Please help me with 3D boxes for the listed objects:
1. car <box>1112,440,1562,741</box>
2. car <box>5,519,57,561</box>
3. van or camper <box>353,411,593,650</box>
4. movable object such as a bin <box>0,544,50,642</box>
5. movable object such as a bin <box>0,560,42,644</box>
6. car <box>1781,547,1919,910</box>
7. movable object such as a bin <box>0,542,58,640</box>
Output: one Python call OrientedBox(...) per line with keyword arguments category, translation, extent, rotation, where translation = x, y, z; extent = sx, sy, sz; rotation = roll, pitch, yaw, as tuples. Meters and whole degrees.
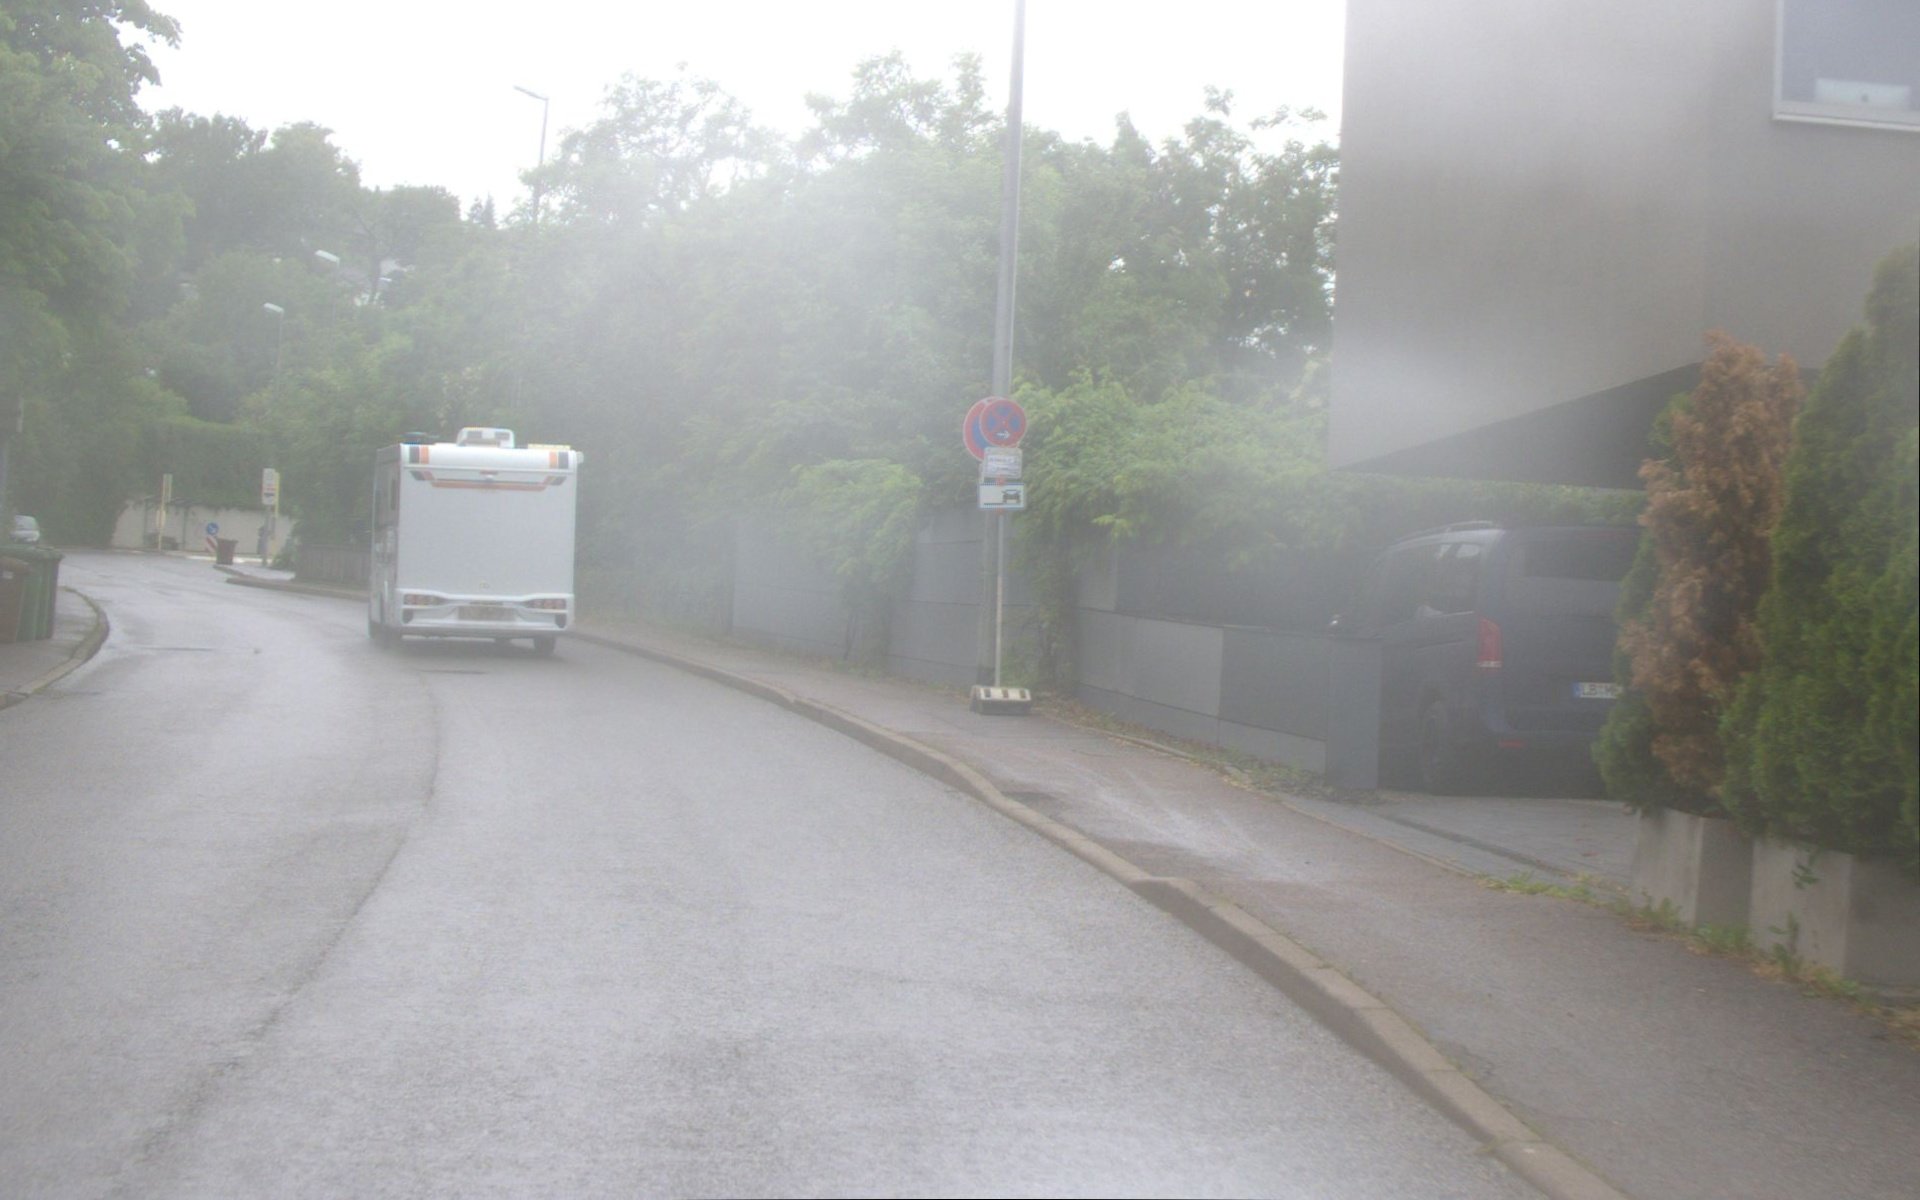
OrientedBox(category="car", translation=(2.602, 0.023, 25.024), extent=(1.993, 1.934, 4.774), rotation=(1, -2, -10))
OrientedBox(category="car", translation=(-33.177, -2.145, 122.867), extent=(1.650, 1.380, 3.530), rotation=(3, 0, -14))
OrientedBox(category="van or camper", translation=(-6.544, -0.860, 45.557), extent=(2.539, 2.915, 5.949), rotation=(1, 0, -14))
OrientedBox(category="movable object such as a bin", translation=(-10.681, -0.080, 38.910), extent=(0.648, 1.077, 0.673), rotation=(2, 1, -11))
OrientedBox(category="movable object such as a bin", translation=(-10.561, 0.014, 38.152), extent=(0.648, 0.908, 0.673), rotation=(2, 1, -11))
OrientedBox(category="car", translation=(4.866, 0.497, 13.938), extent=(1.627, 1.488, 3.427), rotation=(-4, 1, -11))
OrientedBox(category="movable object such as a bin", translation=(-10.787, -0.107, 39.674), extent=(0.648, 1.100, 0.673), rotation=(2, 1, -11))
